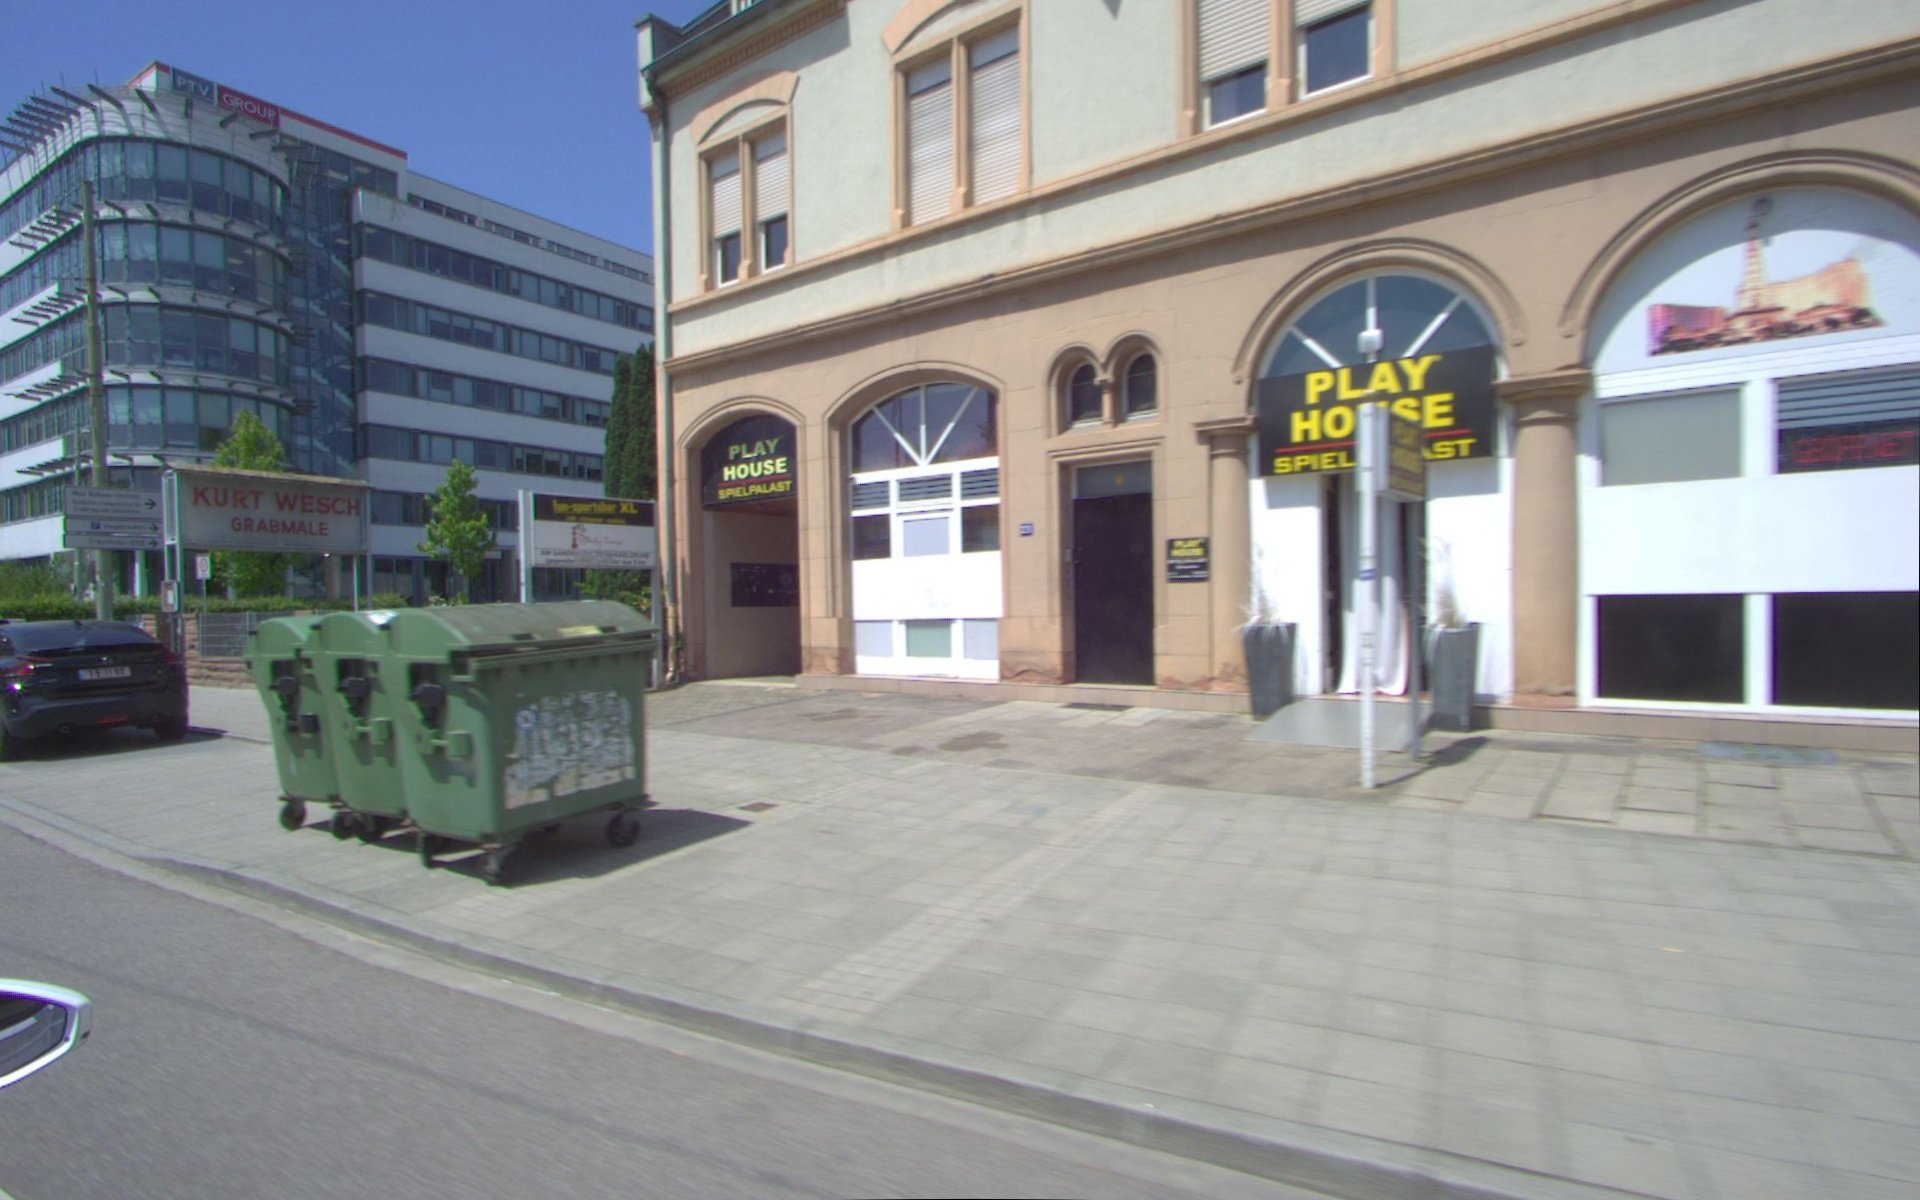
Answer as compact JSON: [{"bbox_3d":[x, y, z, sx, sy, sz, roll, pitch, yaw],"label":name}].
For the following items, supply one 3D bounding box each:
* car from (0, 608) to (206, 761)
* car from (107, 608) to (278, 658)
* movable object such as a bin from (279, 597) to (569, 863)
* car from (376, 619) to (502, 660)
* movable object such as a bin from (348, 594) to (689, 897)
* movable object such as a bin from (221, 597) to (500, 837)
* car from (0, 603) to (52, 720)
[{"bbox_3d":[-11.519,0.955,12.696,4.407,1.569,1.767,-1,1,34],"label":"car"},{"bbox_3d":[-25.143,1.035,32.935,1.795,1.479,4.133,0,0,37],"label":"car"},{"bbox_3d":[-3.432,0.749,6.489,1.042,1.475,1.244,0,2,30],"label":"movable object such as a bin"},{"bbox_3d":[-20.720,1.532,39.955,1.742,1.428,4.139,-1,0,32],"label":"car"},{"bbox_3d":[-2.534,0.735,5.879,1.122,1.475,1.389,0,2,30],"label":"movable object such as a bin"},{"bbox_3d":[-4.245,0.751,7.171,1.042,1.475,1.321,0,2,30],"label":"movable object such as a bin"},{"bbox_3d":[-16.624,0.971,16.085,5.014,1.716,1.918,-1,2,35],"label":"car"}]
